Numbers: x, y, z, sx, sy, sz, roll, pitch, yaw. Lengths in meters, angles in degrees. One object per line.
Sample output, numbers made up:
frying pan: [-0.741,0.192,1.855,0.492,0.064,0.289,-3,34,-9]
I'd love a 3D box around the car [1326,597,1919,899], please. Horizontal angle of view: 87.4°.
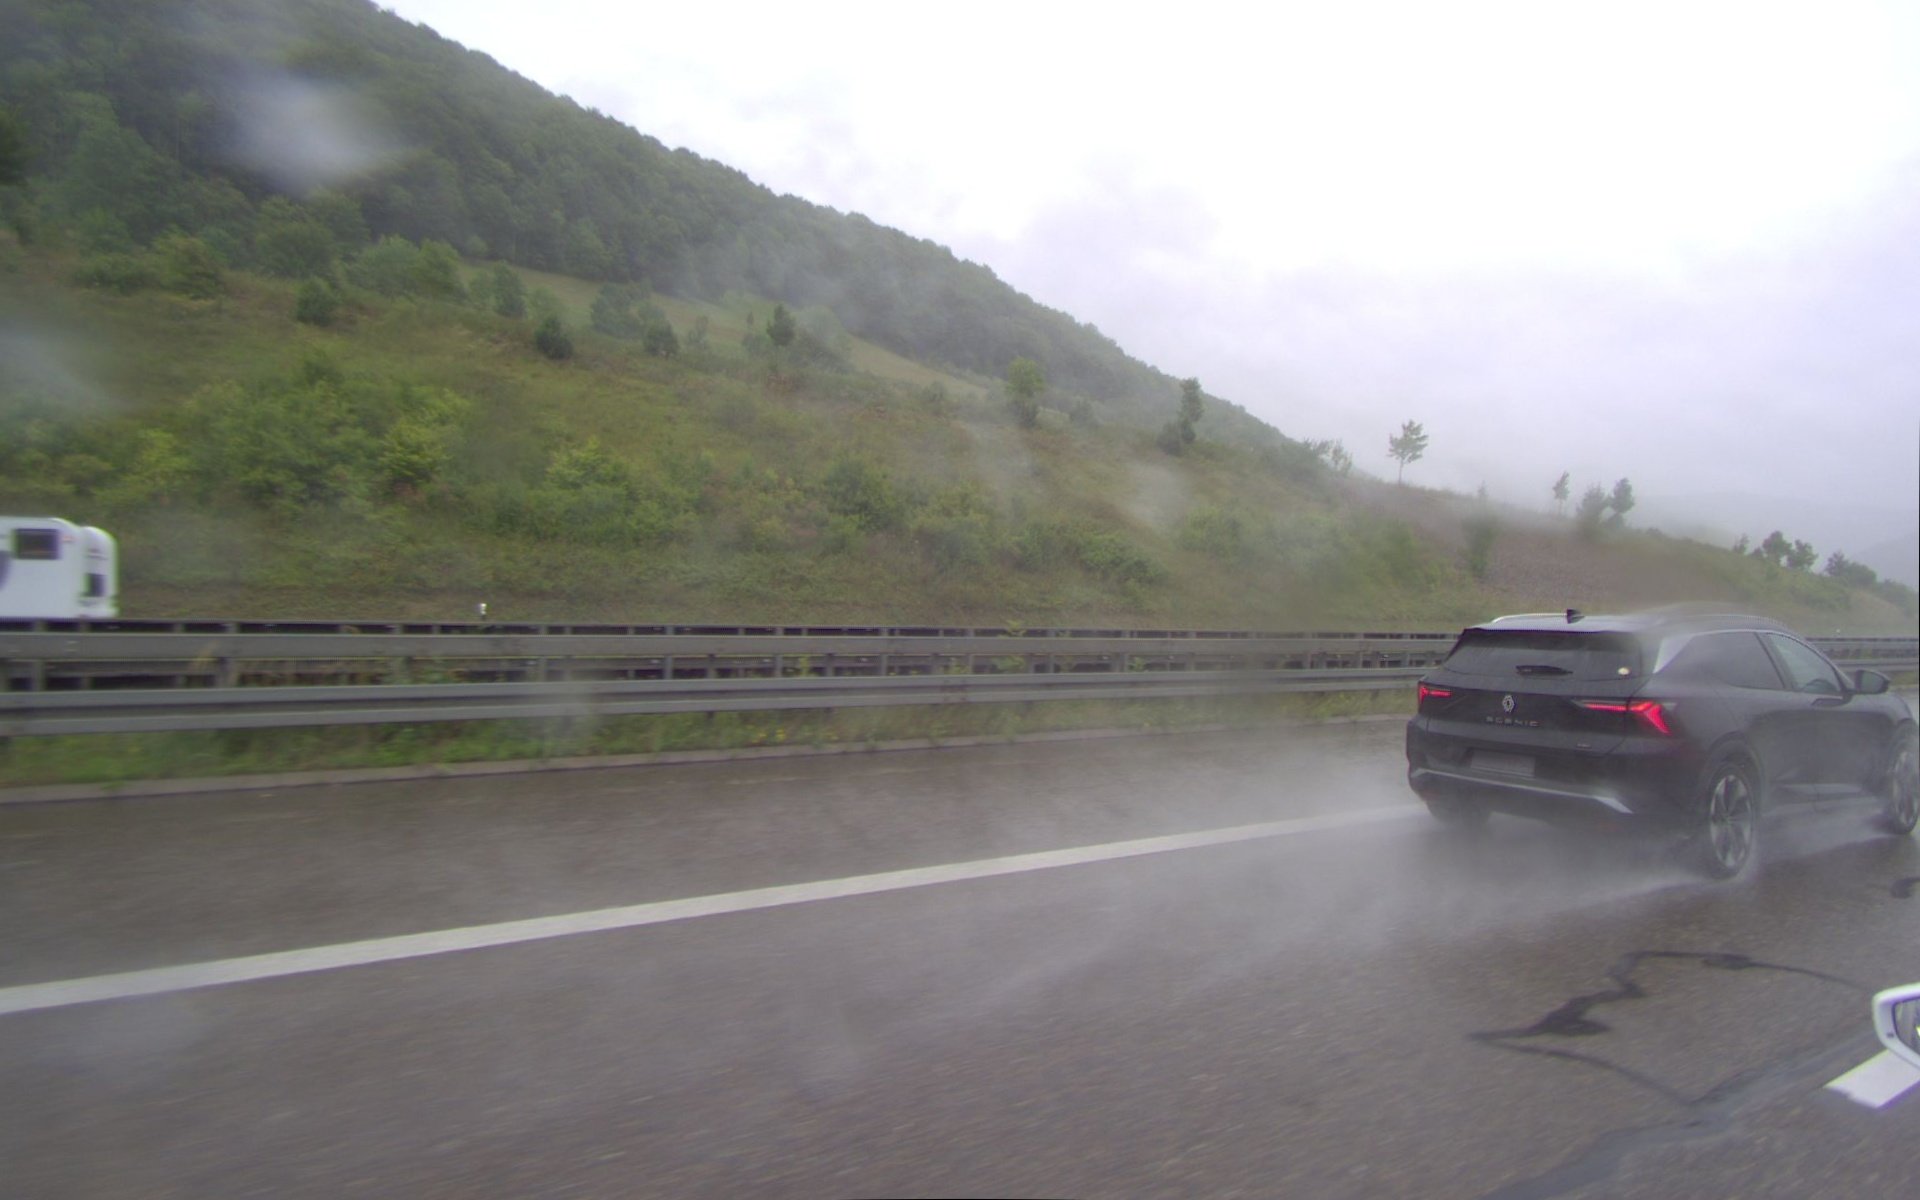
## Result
car: [5.312,0.821,7.386,4.724,1.535,2.396,2,0,-28]

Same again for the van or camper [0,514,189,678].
van or camper: [-17.092,-0.097,16.166,7.121,2.598,2.333,1,0,-30]
